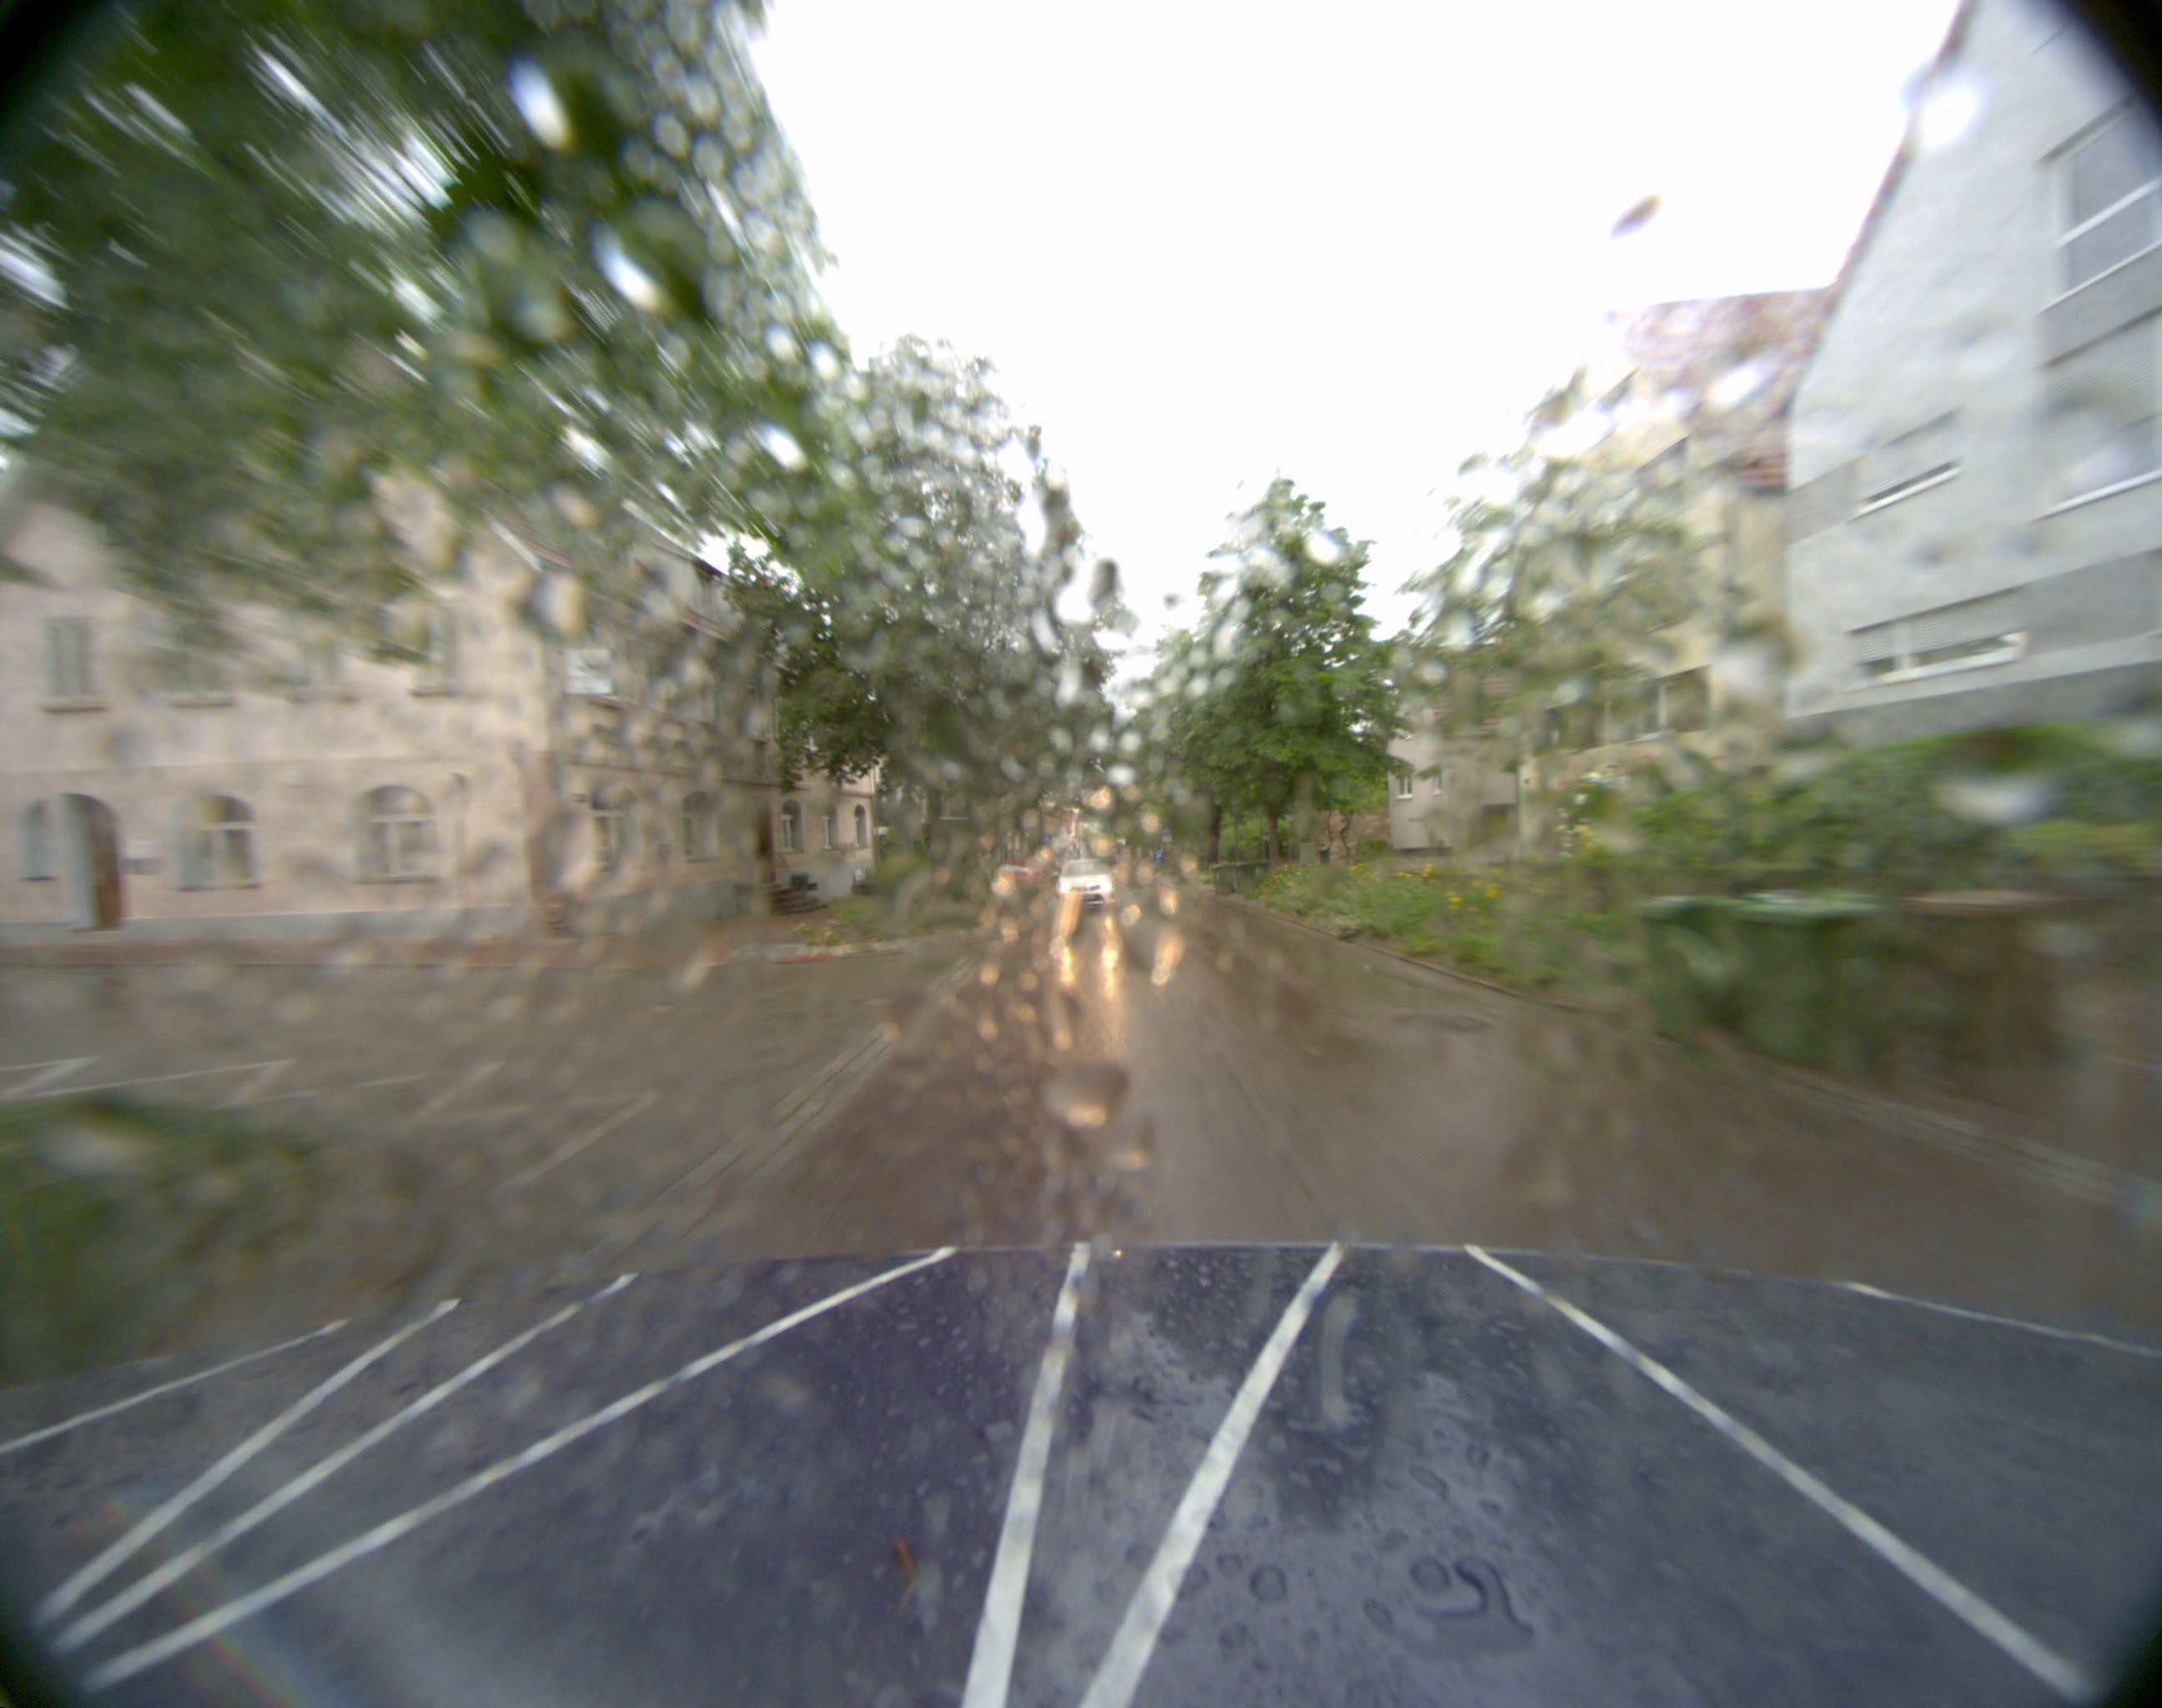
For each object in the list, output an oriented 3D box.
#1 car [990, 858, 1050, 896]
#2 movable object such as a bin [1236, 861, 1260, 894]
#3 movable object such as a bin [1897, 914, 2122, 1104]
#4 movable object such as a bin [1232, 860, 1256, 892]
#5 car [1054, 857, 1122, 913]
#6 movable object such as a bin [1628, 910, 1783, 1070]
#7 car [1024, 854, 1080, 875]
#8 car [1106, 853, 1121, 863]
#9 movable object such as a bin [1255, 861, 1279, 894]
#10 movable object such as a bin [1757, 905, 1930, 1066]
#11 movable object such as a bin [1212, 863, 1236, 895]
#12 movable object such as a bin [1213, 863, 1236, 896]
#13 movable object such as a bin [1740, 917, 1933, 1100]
[{"bbox_3d":[-2.550,0.945,32.881,1.896,1.460,4.824,-1,0,3],"label":"car"},{"bbox_3d":[5.659,0.807,25.812,0.618,1.053,0.569,-4,1,0],"label":"movable object such as a bin"},{"bbox_3d":[5.817,0.946,4.800,0.665,1.068,0.596,-1,2,5],"label":"movable object such as a bin"},{"bbox_3d":[5.674,0.774,26.490,0.625,1.055,0.582,-4,1,0],"label":"movable object such as a bin"},{"bbox_3d":[0.303,0.879,23.046,1.828,1.451,3.876,-3,0,3],"label":"car"},{"bbox_3d":[4.606,0.984,5.645,0.665,1.068,0.596,-1,2,5],"label":"movable object such as a bin"},{"bbox_3d":[-2.269,0.852,60.418,4.270,1.451,1.829,-3,0,-1],"label":"car"},{"bbox_3d":[4.461,0.512,105.725,1.828,1.353,3.875,-3,0,-1],"label":"car"},{"bbox_3d":[6.316,0.778,25.820,0.618,1.053,0.561,-4,1,0],"label":"movable object such as a bin"},{"bbox_3d":[5.566,0.941,5.587,0.665,1.068,0.596,-1,2,5],"label":"movable object such as a bin"},{"bbox_3d":[4.967,0.873,26.436,0.629,1.053,0.565,-4,1,0],"label":"movable object such as a bin"},{"bbox_3d":[4.872,0.860,25.780,0.585,1.071,0.570,-4,1,-1],"label":"movable object such as a bin"},{"bbox_3d":[4.899,0.977,4.970,0.665,1.061,0.596,-1,2,5],"label":"movable object such as a bin"}]
